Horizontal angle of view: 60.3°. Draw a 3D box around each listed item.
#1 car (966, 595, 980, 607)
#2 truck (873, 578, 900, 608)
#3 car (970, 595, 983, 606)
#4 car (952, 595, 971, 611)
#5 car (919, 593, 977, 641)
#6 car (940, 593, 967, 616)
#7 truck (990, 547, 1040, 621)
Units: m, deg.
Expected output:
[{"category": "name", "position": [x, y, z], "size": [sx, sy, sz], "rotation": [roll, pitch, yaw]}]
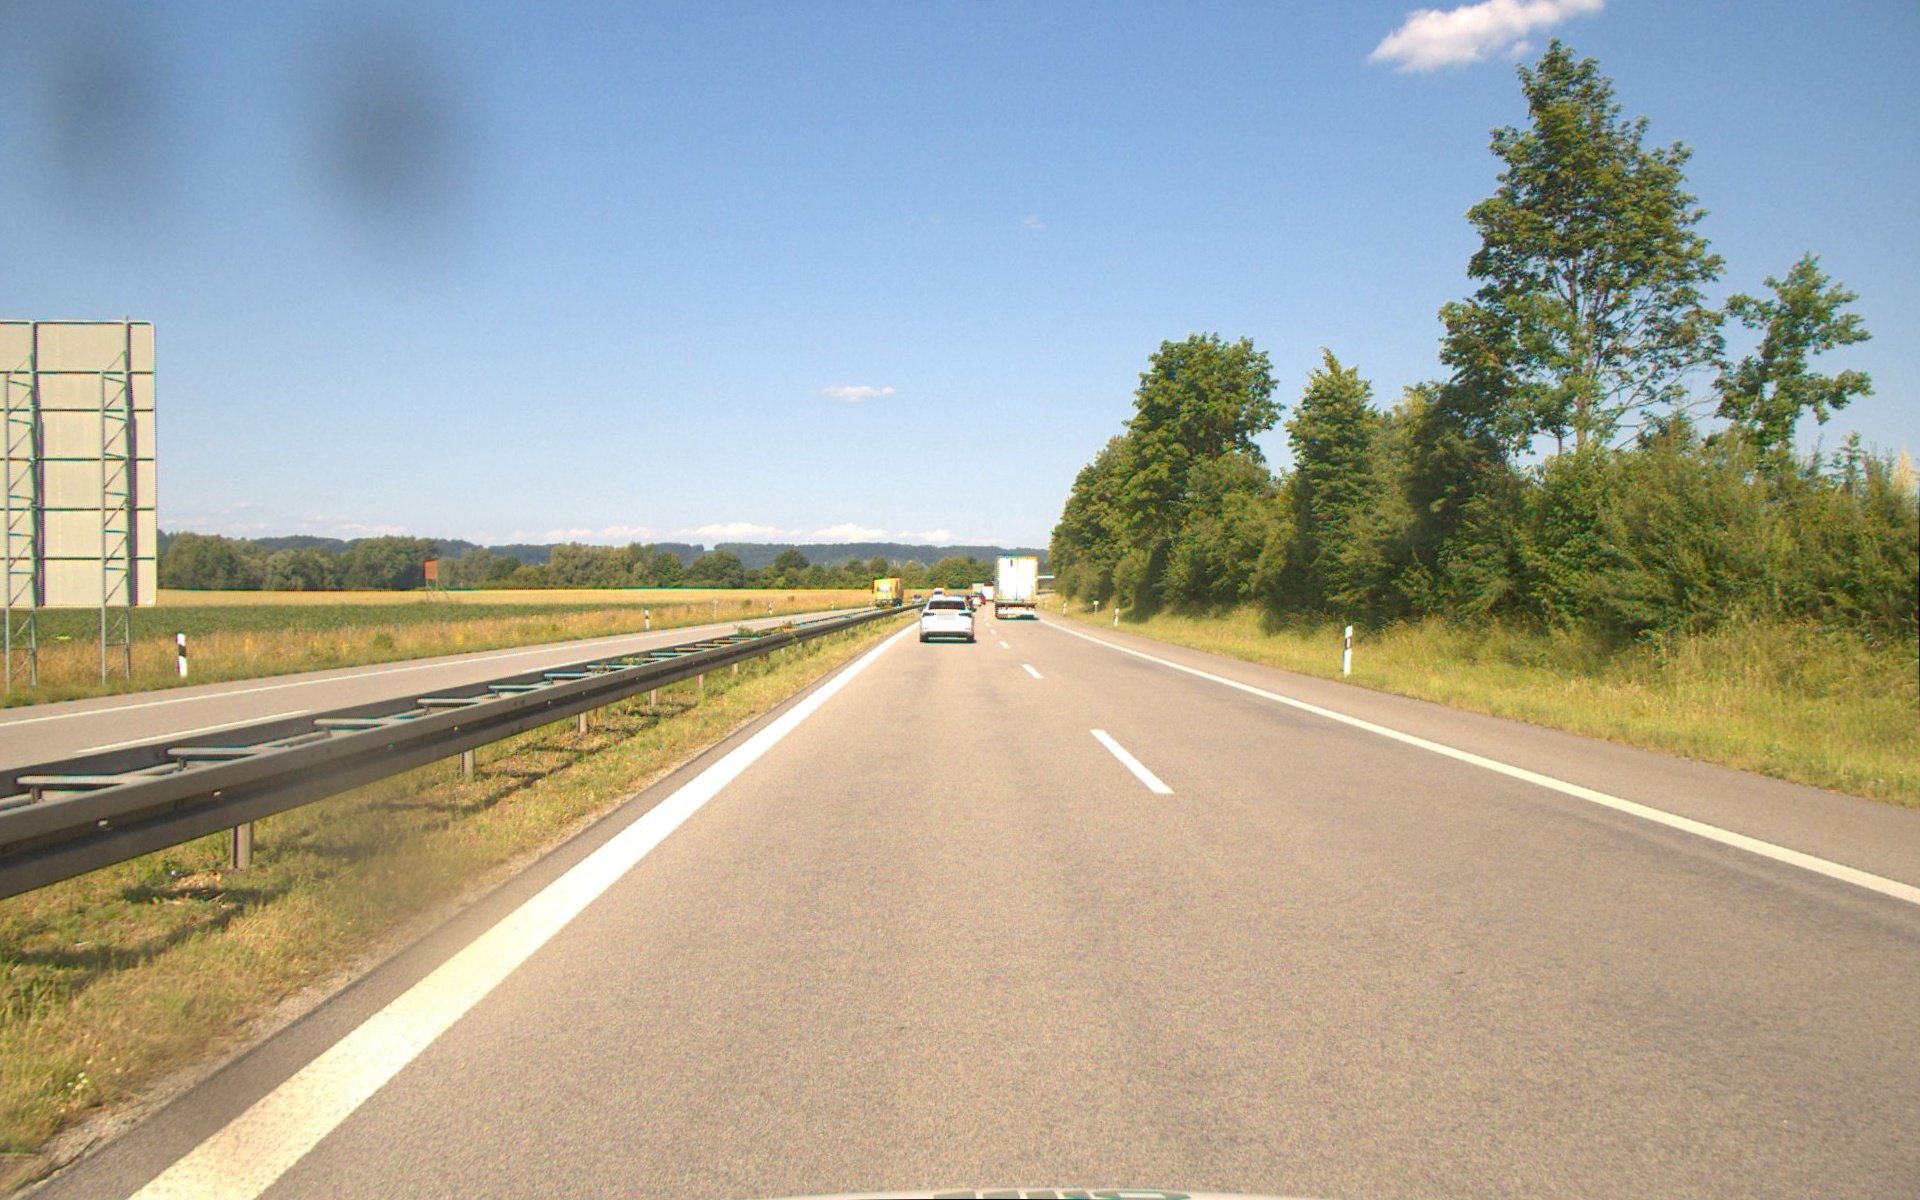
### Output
[{"category": "car", "position": [1.553, 0.104, 199.417], "size": [1.735, 1.446, 4.365], "rotation": [1, 0, 0]}, {"category": "truck", "position": [-9.032, -0.877, 204.965], "size": [2.679, 3.442, 9.233], "rotation": [-3, 0, 0]}, {"category": "car", "position": [2.214, 0.033, 220.142], "size": [1.735, 1.446, 4.365], "rotation": [1, 0, 0]}, {"category": "car", "position": [0.190, 0.247, 156.623], "size": [1.735, 1.446, 4.365], "rotation": [1, 0, 0]}, {"category": "car", "position": [-0.407, 0.511, 54.254], "size": [1.803, 1.446, 5.253], "rotation": [1, 0, -1]}, {"category": "car", "position": [-0.447, 0.287, 110.702], "size": [1.735, 1.446, 4.495], "rotation": [1, 0, 0]}, {"category": "truck", "position": [3.568, -1.053, 109.112], "size": [3.087, 4.693, 8.906], "rotation": [0, 0, 1]}]
